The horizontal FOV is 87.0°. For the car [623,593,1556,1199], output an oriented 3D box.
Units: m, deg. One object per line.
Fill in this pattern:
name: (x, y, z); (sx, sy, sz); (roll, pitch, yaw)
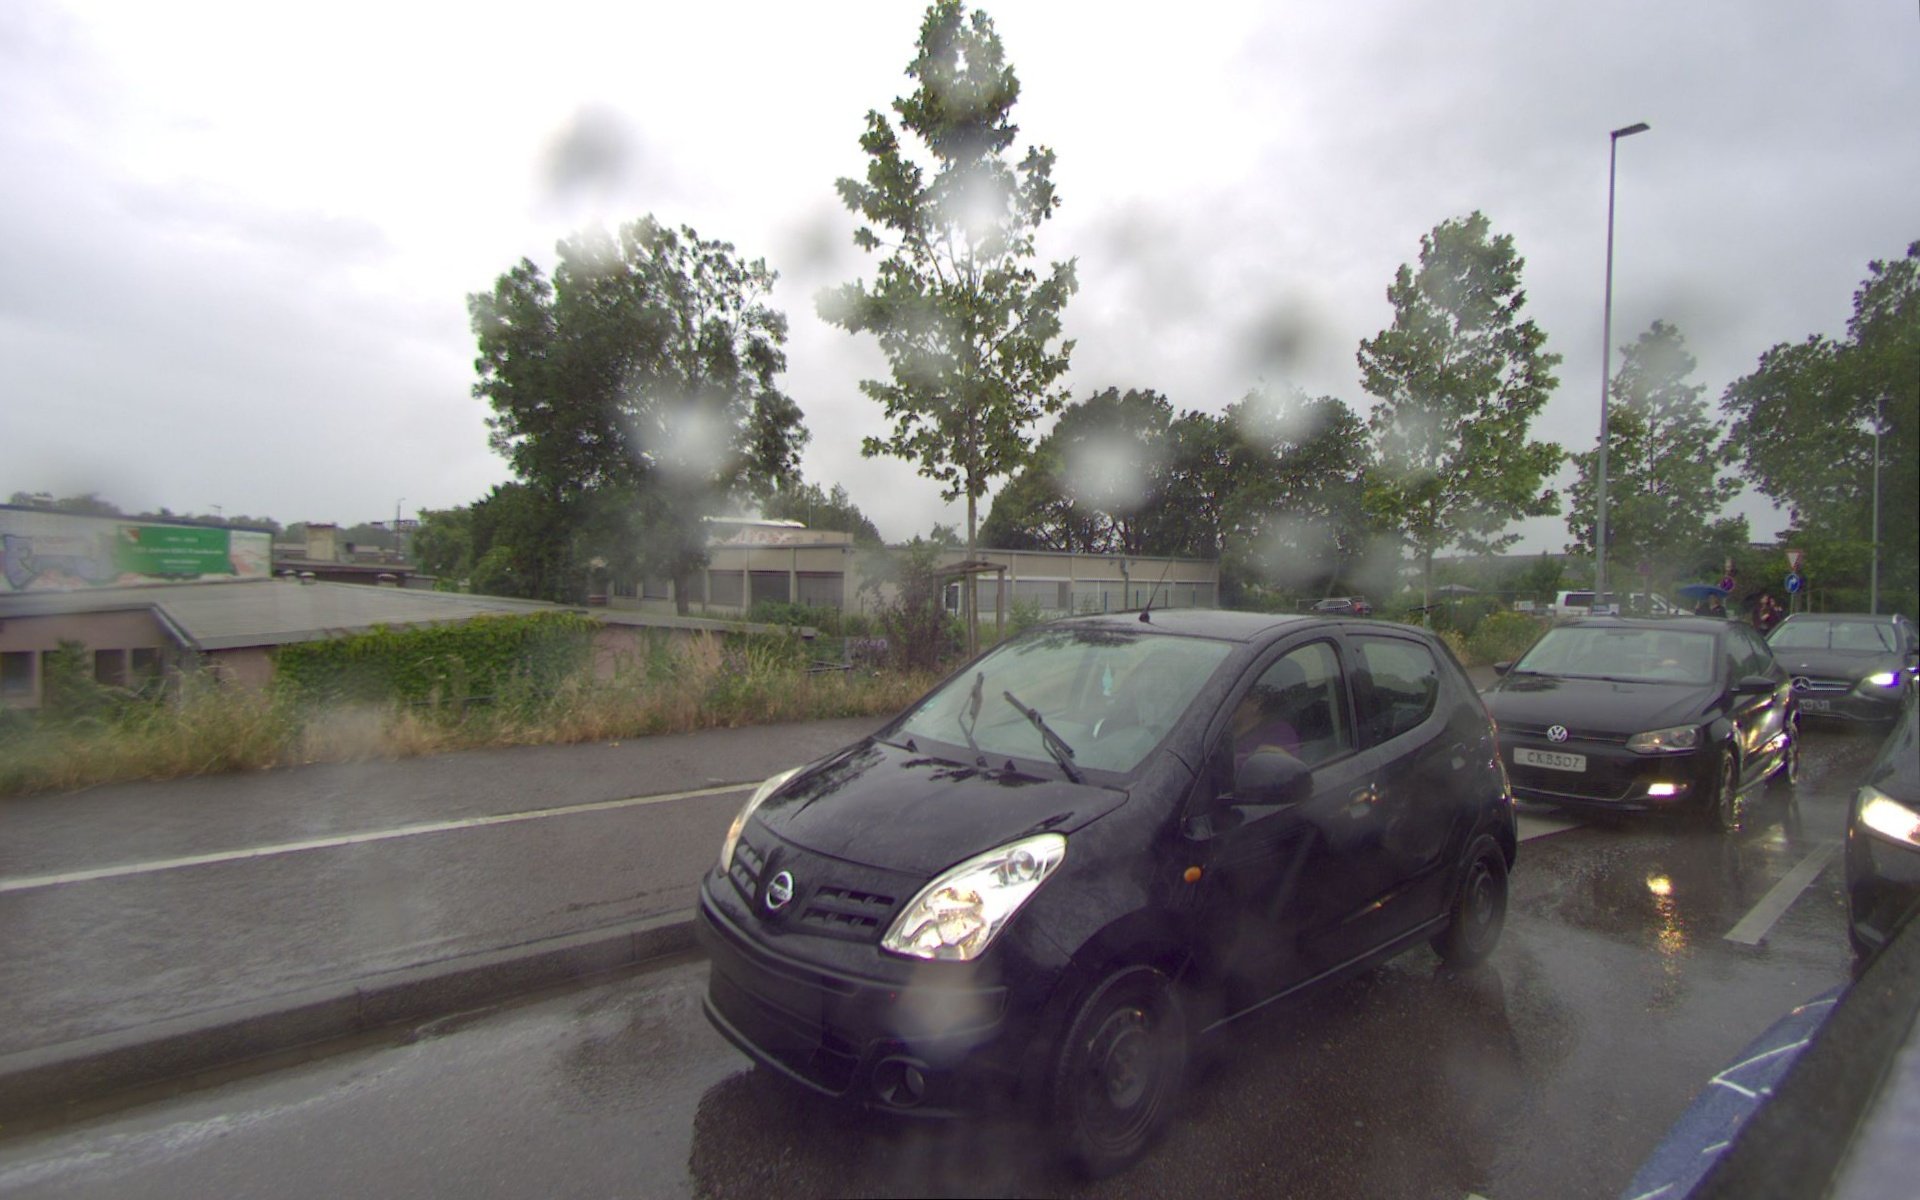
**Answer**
car: (0.765, 0.716, 3.879); (3.561, 1.447, 1.631); (0, 0, -42)

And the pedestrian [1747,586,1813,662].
pedestrian: (19.500, 0.544, 24.071); (0.876, 1.729, 1.024); (0, 3, -41)

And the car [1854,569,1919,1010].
car: (5.462, 0.671, 4.513); (4.091, 1.607, 1.688); (-1, 0, -41)

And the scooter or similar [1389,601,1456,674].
scooter or similar: (7.895, 0.613, 17.252); (1.747, 1.144, 0.380); (-1, 2, -43)

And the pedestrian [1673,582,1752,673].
pedestrian: (15.506, 0.531, 20.864); (0.953, 1.777, 1.081); (0, 3, -42)

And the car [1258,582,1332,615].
car: (20.994, -0.108, 63.480); (1.964, 2.039, 3.996); (0, 0, -38)

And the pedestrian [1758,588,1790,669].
pedestrian: (17.294, 0.593, 21.511); (0.433, 1.682, 0.400); (0, 3, -42)

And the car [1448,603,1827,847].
car: (5.374, 0.760, 7.867); (3.561, 1.447, 1.631); (0, 0, -42)

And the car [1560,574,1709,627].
car: (28.100, 0.073, 42.299); (1.966, 1.671, 4.749); (2, -8, -42)

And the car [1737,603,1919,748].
car: (11.783, 0.864, 13.362); (3.747, 1.594, 1.697); (-1, 0, -41)
